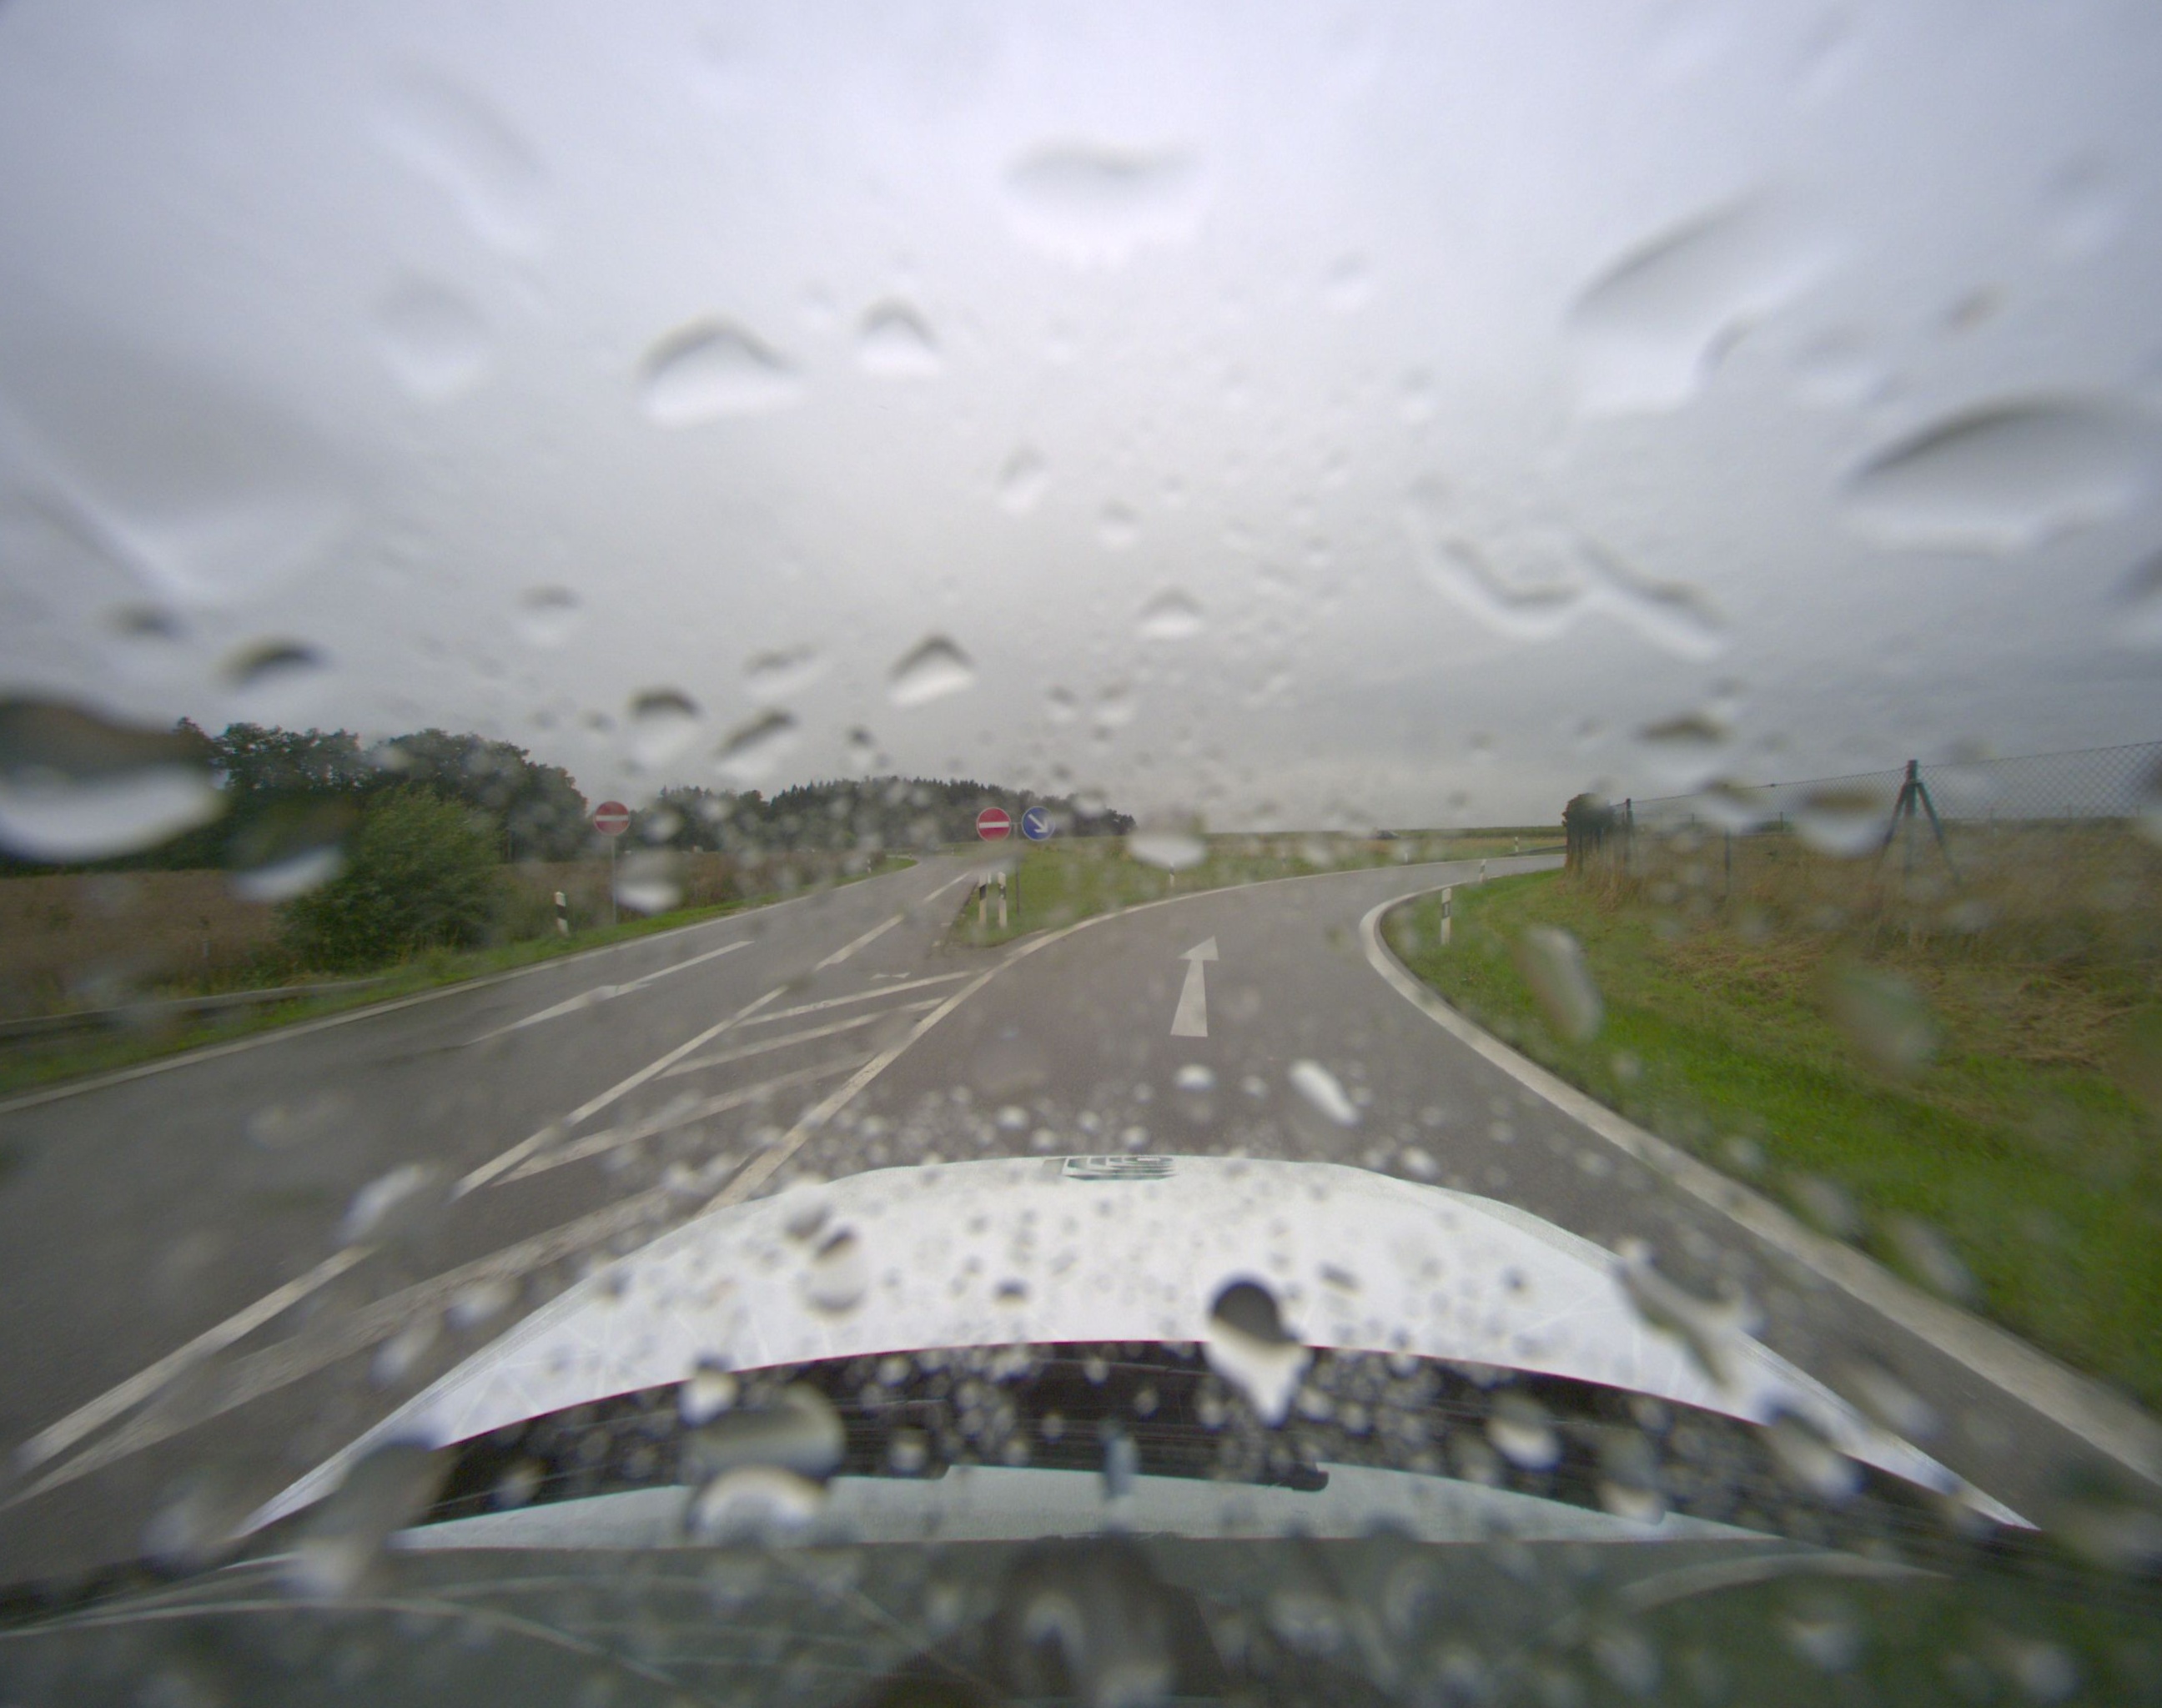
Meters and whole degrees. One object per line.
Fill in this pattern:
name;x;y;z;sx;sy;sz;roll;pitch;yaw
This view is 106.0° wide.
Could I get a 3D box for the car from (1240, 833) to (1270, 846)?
car;25.988;-2.197;121.439;3.949;1.736;1.746;-1;2;42
